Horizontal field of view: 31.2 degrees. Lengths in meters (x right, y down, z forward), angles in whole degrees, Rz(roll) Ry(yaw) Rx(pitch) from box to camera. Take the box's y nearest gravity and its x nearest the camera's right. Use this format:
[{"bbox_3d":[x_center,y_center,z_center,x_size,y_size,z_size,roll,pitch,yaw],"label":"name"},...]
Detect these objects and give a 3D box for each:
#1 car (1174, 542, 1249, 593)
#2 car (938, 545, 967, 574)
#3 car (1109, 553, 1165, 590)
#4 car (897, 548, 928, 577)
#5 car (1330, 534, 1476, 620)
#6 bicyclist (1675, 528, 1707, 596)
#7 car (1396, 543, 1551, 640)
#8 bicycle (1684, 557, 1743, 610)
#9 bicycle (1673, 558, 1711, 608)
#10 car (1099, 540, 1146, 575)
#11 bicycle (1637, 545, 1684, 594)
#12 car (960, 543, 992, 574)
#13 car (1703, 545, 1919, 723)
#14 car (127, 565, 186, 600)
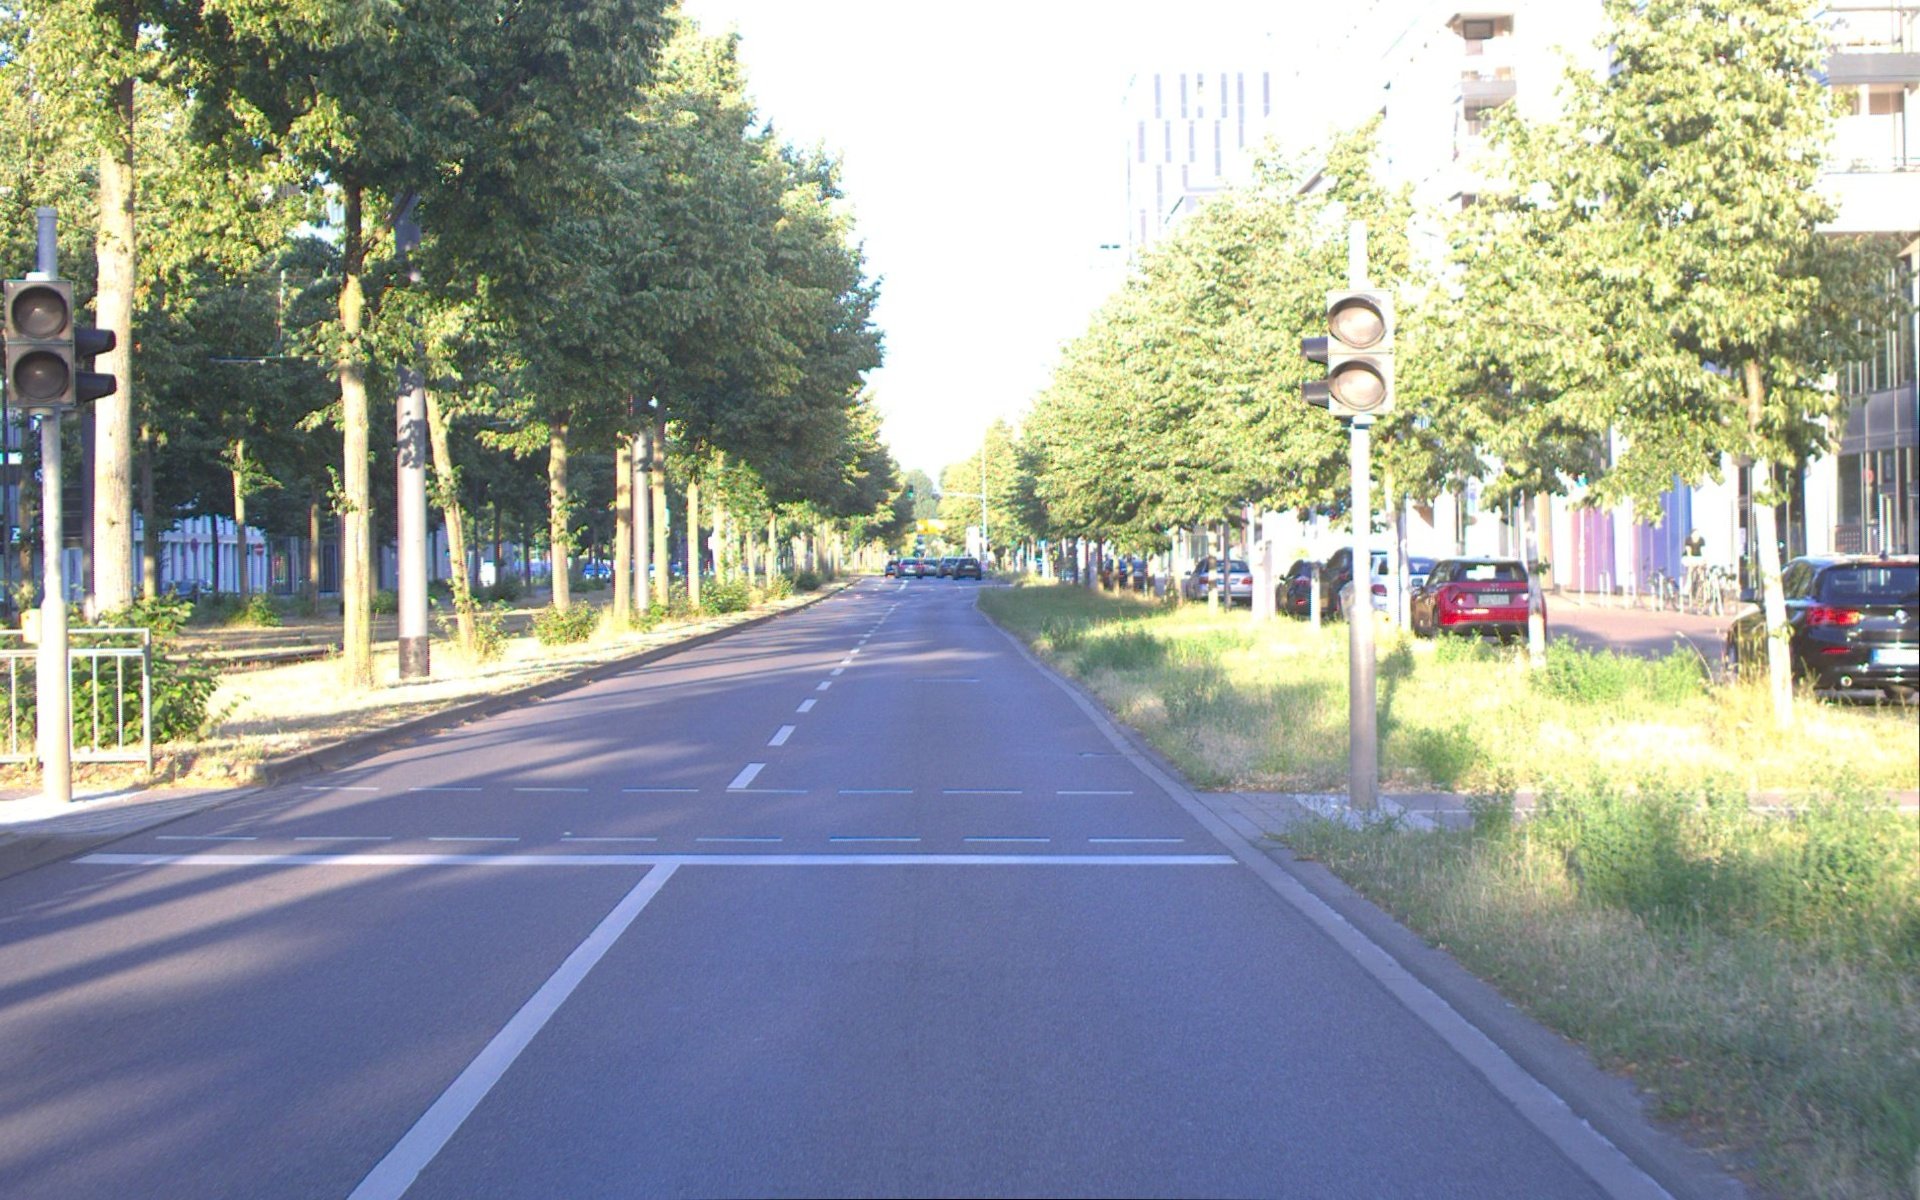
[{"bbox_3d":[7.603,-1.003,104.410,1.808,1.496,4.826,-1,1,-1],"label":"car"},{"bbox_3d":[-0.539,-2.935,246.493,1.993,2.007,4.000,-1,1,0],"label":"car"},{"bbox_3d":[7.606,-1.233,148.354,1.943,1.543,4.812,-1,1,-2],"label":"car"},{"bbox_3d":[-3.301,-2.615,239.544,2.087,2.007,4.000,-1,1,-1],"label":"car"},{"bbox_3d":[8.090,-0.454,63.124,1.920,1.496,5.010,-1,1,-1],"label":"car"},{"bbox_3d":[16.833,-0.876,79.193,0.544,1.563,1.019,-1,1,3],"label":"bicyclist"},{"bbox_3d":[8.251,-0.163,55.535,1.808,1.496,3.960,-1,1,-1],"label":"car"},{"bbox_3d":[15.101,-0.342,68.950,0.620,1.029,2.261,-1,1,-2],"label":"bicycle"},{"bbox_3d":[16.839,-0.391,79.140,0.543,1.114,1.913,-1,1,3],"label":"bicycle"},{"bbox_3d":[7.333,-1.913,155.588,1.854,1.524,4.483,1,1,-1],"label":"car"},{"bbox_3d":[15.268,-0.668,74.912,0.533,1.056,1.613,-1,1,-6],"label":"bicycle"},{"bbox_3d":[1.053,-2.783,230.862,1.993,2.007,4.000,-1,1,-1],"label":"car"},{"bbox_3d":[8.265,0.253,31.642,1.808,1.496,4.369,-1,1,-1],"label":"car"},{"bbox_3d":[-37.232,-0.808,159.303,1.860,1.576,3.492,-1,1,0],"label":"car"}]
